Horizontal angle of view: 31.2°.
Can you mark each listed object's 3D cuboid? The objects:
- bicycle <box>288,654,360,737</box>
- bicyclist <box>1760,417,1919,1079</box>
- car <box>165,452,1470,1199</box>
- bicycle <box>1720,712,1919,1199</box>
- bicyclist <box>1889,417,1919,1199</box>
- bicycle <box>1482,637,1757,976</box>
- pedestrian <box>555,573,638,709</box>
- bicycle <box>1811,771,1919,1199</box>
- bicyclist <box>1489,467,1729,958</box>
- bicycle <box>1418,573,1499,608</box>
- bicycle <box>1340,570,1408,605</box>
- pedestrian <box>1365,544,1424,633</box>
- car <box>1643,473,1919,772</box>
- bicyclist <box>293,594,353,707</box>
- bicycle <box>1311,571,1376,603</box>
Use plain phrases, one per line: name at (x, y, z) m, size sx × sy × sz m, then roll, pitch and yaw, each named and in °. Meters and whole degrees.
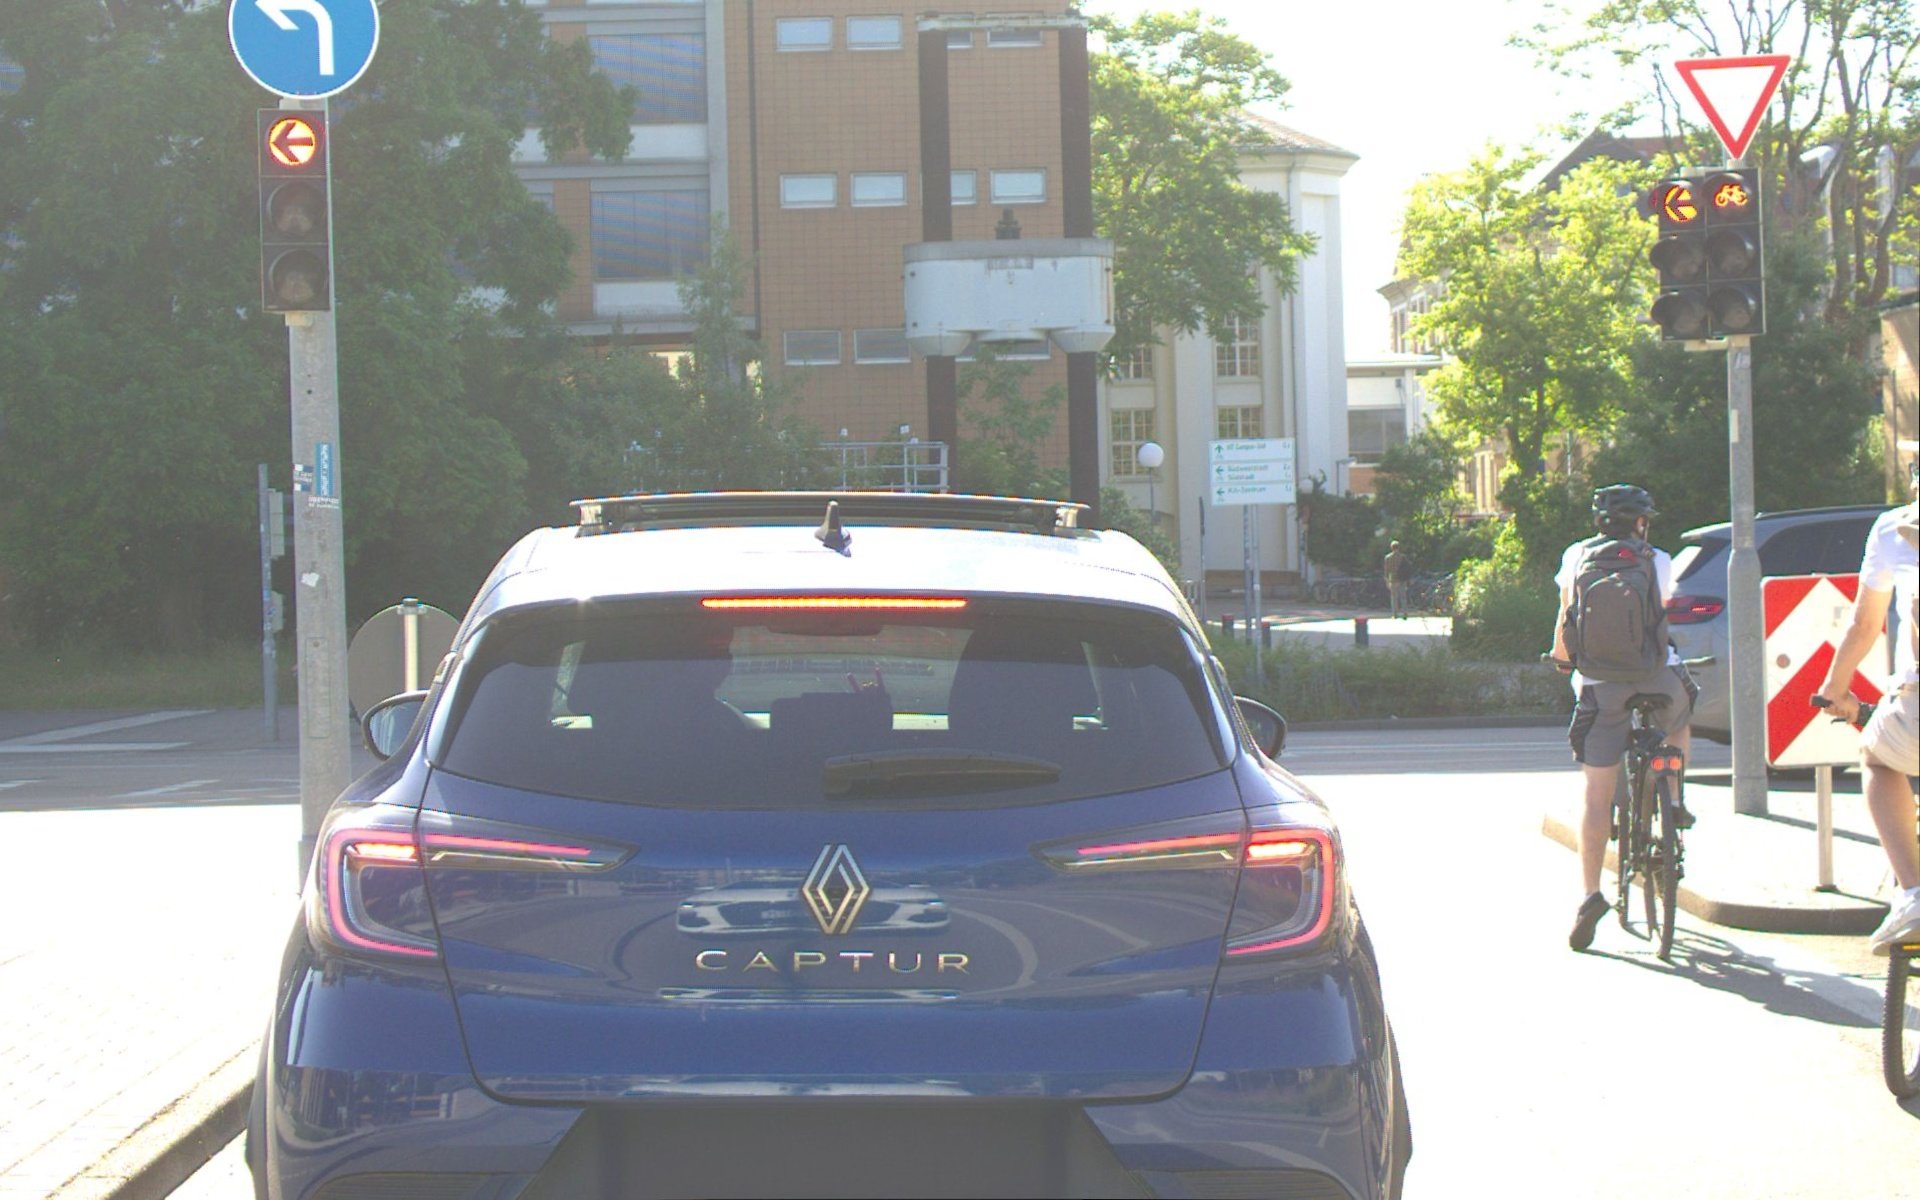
bicycle at (-8.103, 1.221, 43.741) m, size 0.698 × 1.004 × 1.868 m, roll -2°, pitch -2°, yaw -16°
bicyclist at (2.524, 0.350, 8.747) m, size 0.674 × 1.577 × 1.081 m, roll 1°, pitch 1°, yaw -1°
car at (-0.248, 0.591, 6.681) m, size 1.794 × 1.649 × 3.853 m, roll 0°, pitch 1°, yaw -2°
bicycle at (2.517, 0.855, 8.790) m, size 0.671 × 1.047 × 1.844 m, roll 1°, pitch 1°, yaw -2°
bicyclist at (2.282, 0.469, 6.543) m, size 0.740 × 1.668 × 0.866 m, roll -1°, pitch 1°, yaw -2°
bicycle at (2.441, 0.731, 12.913) m, size 0.615 × 1.134 × 1.826 m, roll 0°, pitch 1°, yaw -2°
pedestrian at (-5.041, 0.565, 47.704) m, size 0.932 × 1.849 × 0.807 m, roll -1°, pitch 1°, yaw 9°
bicycle at (2.289, 0.909, 6.628) m, size 0.747 × 1.047 × 1.903 m, roll -1°, pitch 1°, yaw -2°
bicyclist at (2.427, 0.406, 12.945) m, size 0.676 × 1.779 × 0.940 m, roll 1°, pitch 0°, yaw -2°
bicycle at (12.037, -0.234, 83.040) m, size 1.770 × 0.820 × 0.766 m, roll -1°, pitch 1°, yaw -10°
bicycle at (11.407, -0.347, 94.842) m, size 1.771 × 0.895 × 0.765 m, roll -1°, pitch 1°, yaw 0°
pedestrian at (9.989, -0.271, 79.119) m, size 1.156 × 2.007 × 1.164 m, roll -1°, pitch 1°, yaw 0°
car at (6.929, 0.101, 22.391) m, size 4.728 × 1.854 × 2.004 m, roll -1°, pitch 1°, yaw 8°
bicyclist at (-8.115, 0.645, 43.769) m, size 0.647 × 1.407 × 0.639 m, roll -1°, pitch -2°, yaw -16°
bicycle at (11.069, -0.377, 99.206) m, size 1.771 × 0.890 × 0.765 m, roll -1°, pitch 1°, yaw 0°
